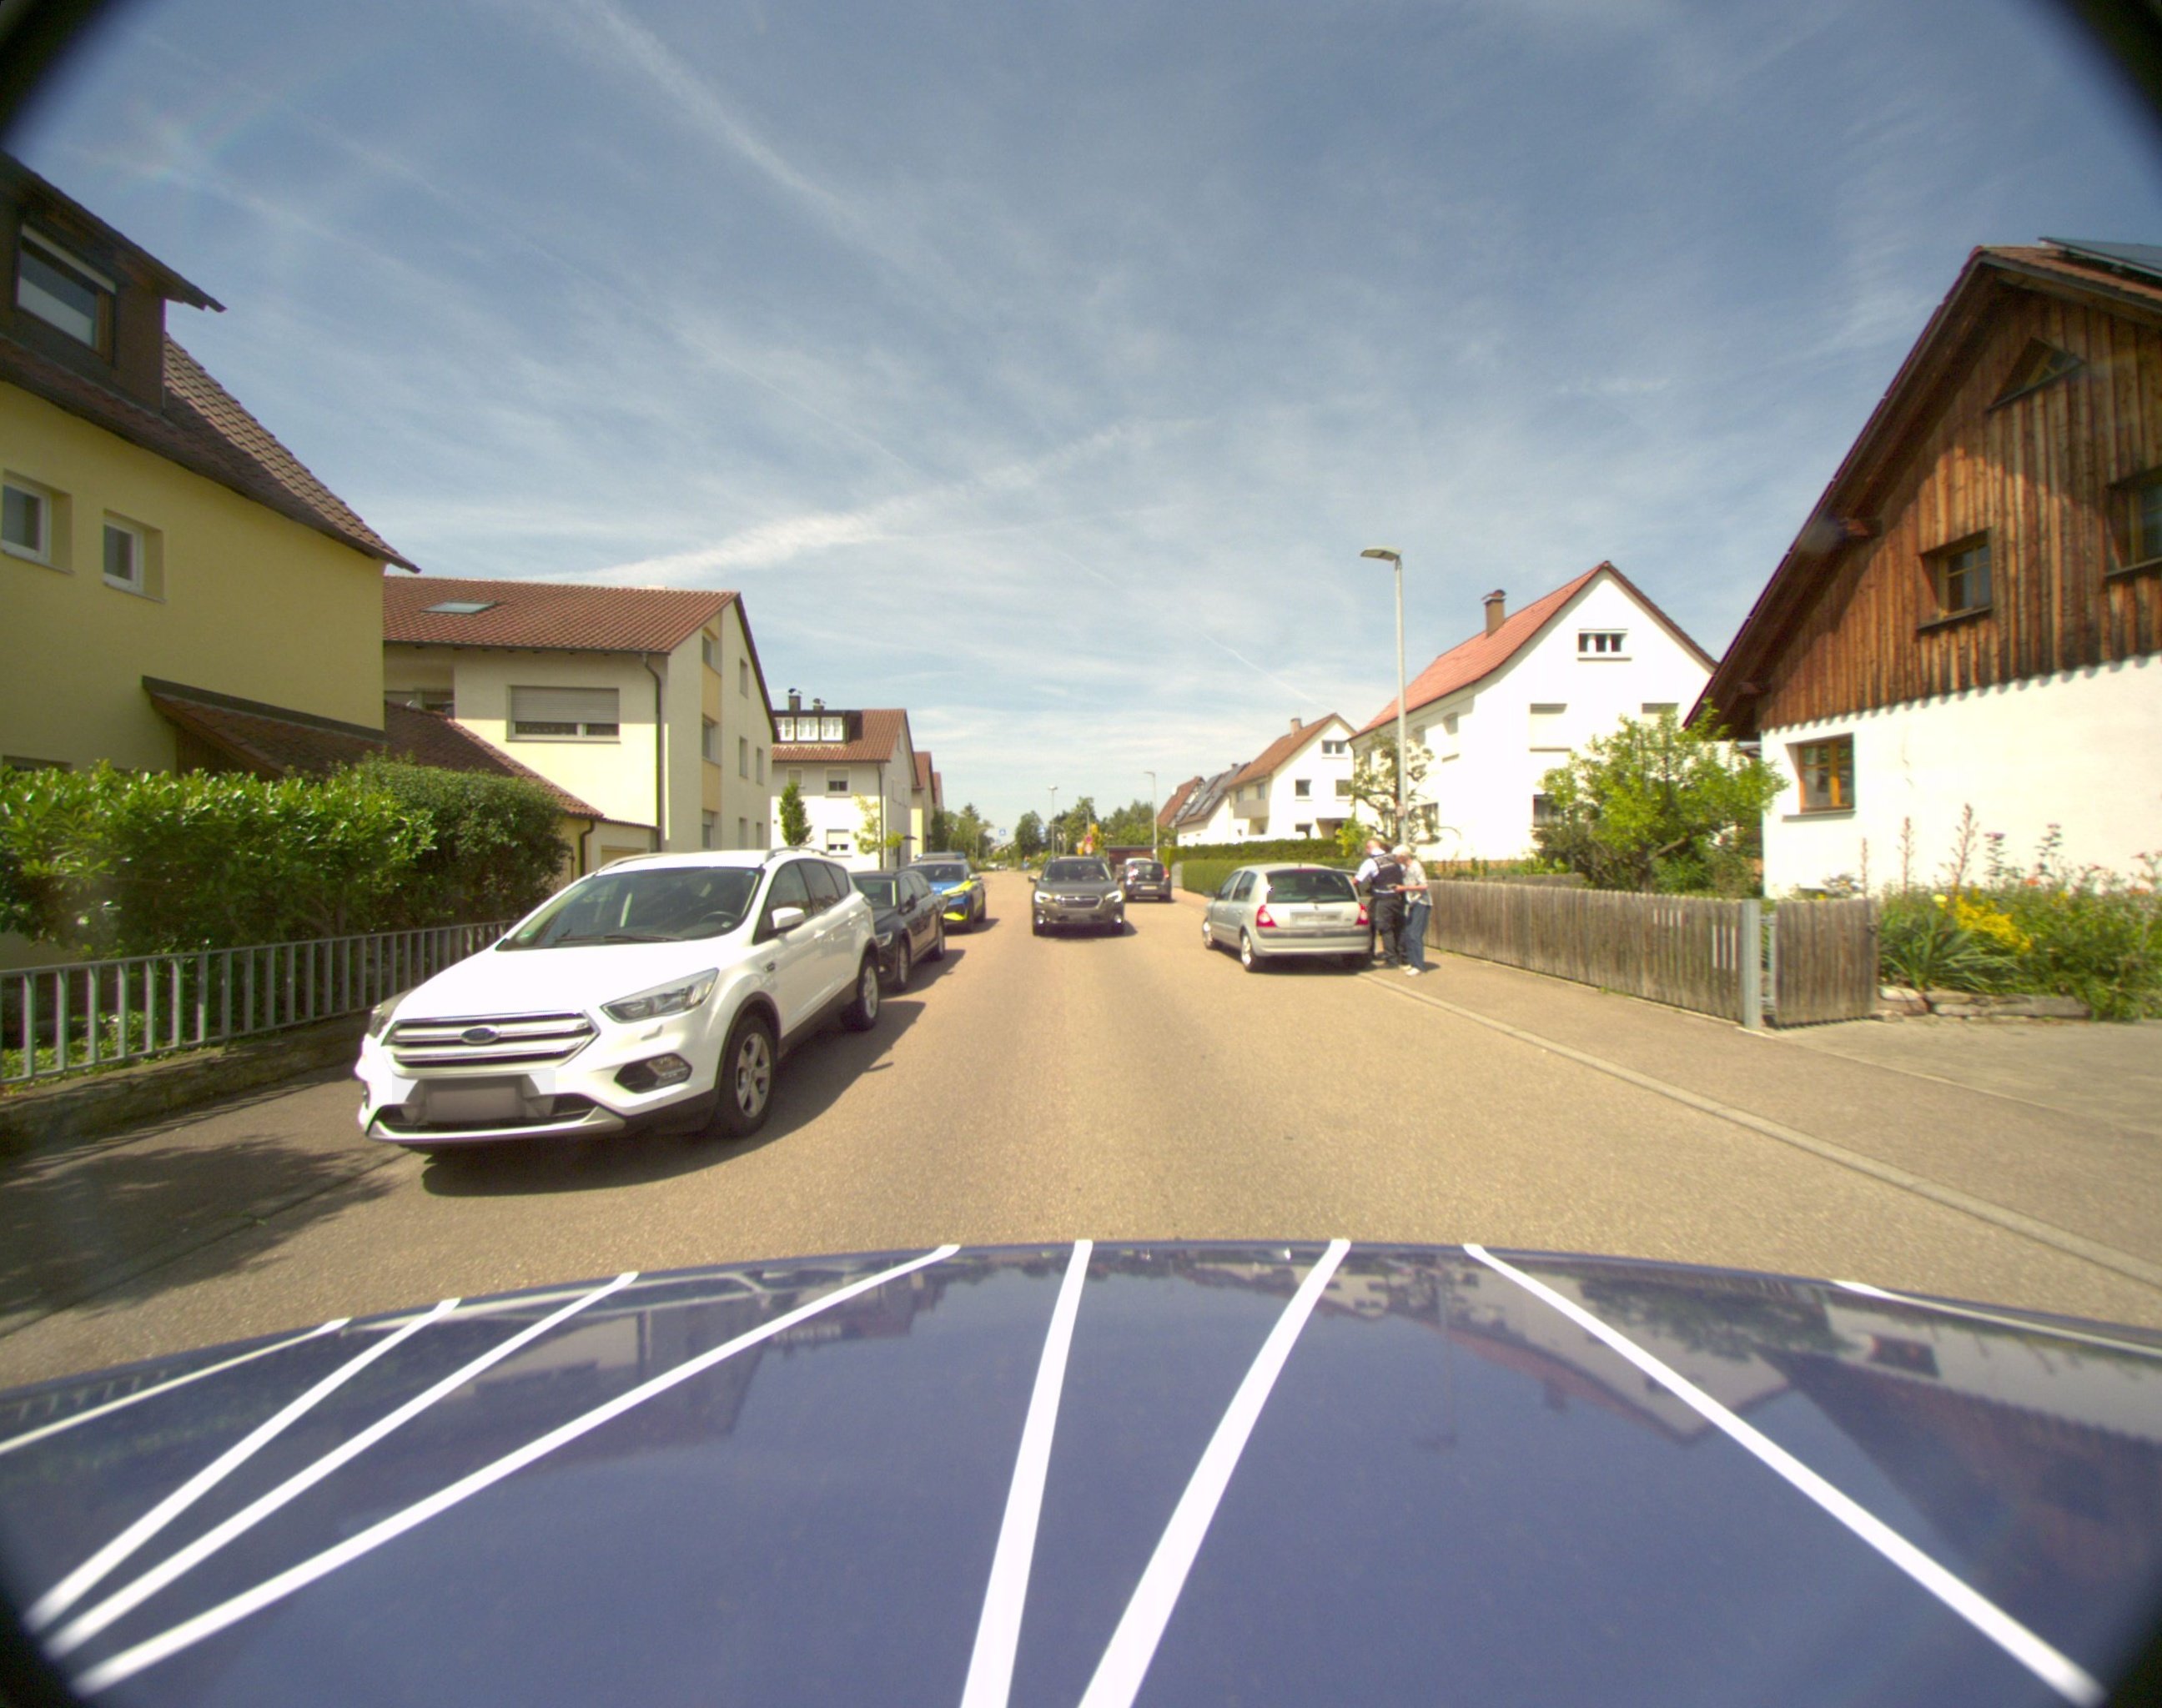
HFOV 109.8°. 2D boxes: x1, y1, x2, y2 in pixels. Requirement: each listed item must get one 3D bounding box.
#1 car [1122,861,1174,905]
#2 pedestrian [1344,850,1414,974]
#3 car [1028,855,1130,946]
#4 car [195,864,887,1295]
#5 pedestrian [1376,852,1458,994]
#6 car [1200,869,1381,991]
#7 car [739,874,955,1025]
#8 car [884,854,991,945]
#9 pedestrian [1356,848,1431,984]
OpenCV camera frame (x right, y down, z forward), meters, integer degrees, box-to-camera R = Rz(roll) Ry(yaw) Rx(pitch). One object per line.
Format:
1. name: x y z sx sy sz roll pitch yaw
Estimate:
1. car: 2.344 1.000 27.417 1.602 1.450 3.660 -1 0 1
2. pedestrian: 4.090 0.781 10.473 0.640 1.633 0.590 -3 0 -1
3. car: -0.109 0.862 16.233 1.838 1.637 4.322 -2 0 -2
4. car: -2.788 0.963 5.327 1.740 1.652 4.336 -3 0 -1
5. pedestrian: 4.067 0.808 9.219 0.640 1.633 0.599 -3 0 -1
6. car: 2.854 0.972 11.037 1.586 1.434 3.265 0 0 -3
7. car: -2.907 1.094 10.454 1.628 1.460 4.372 -3 0 -1
8. car: -3.120 0.918 17.318 1.670 1.739 4.055 -3 0 -1
9. pedestrian: 4.041 0.781 9.854 0.640 1.672 0.590 -3 0 -1
